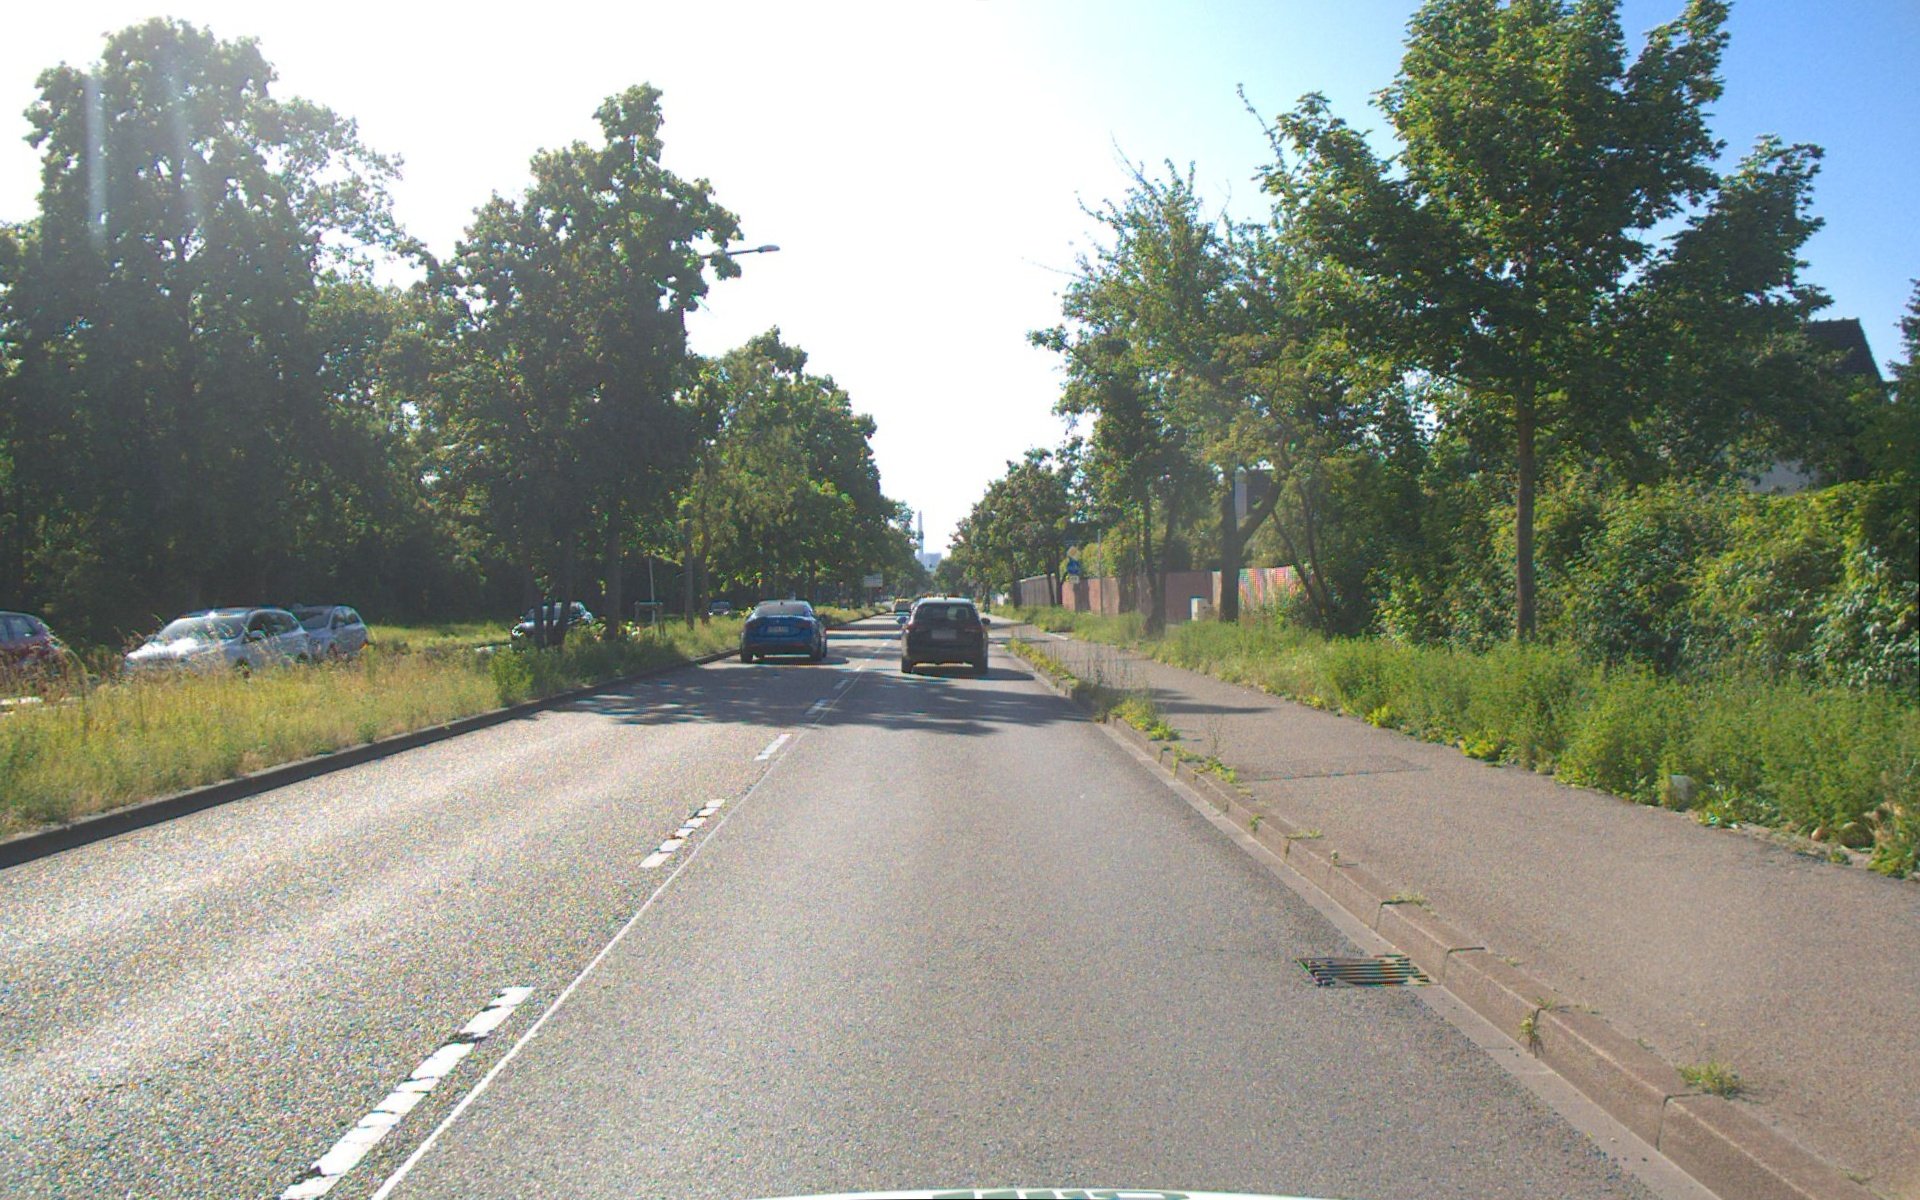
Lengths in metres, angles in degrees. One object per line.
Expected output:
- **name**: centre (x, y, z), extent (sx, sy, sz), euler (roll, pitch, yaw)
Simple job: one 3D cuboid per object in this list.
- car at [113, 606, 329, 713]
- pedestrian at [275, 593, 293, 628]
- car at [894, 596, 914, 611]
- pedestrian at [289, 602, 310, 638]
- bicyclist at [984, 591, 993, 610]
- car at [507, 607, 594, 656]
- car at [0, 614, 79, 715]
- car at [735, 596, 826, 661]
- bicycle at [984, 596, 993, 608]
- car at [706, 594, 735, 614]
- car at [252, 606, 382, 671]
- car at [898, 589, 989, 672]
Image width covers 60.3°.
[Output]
- **car**: centre (-12.443, 0.945, 28.180), extent (1.678, 1.630, 4.358), euler (-1, 0, 0)
- **pedestrian**: centre (-28.658, 0.446, 70.116), extent (0.533, 1.485, 0.596), euler (0, 0, -1)
- **car**: centre (-5.883, 0.383, 173.985), extent (1.939, 1.465, 3.997), euler (-1, 1, -5)
- **pedestrian**: centre (-27.941, 0.846, 69.986), extent (0.533, 1.485, 0.917), euler (-1, 0, -1)
- **bicyclist**: centre (2.209, 0.036, 126.898), extent (0.666, 1.443, 0.812), euler (-1, 0, -1)
- **car**: centre (-12.656, 0.940, 51.318), extent (1.667, 1.419, 4.250), euler (0, 0, -1)
- **car**: centre (-16.180, 1.053, 26.978), extent (1.572, 1.590, 3.998), euler (-1, 0, -2)
- **car**: centre (-4.248, 0.634, 39.708), extent (1.955, 1.429, 3.997), euler (-1, 0, -4)
- **bicycle**: centre (2.208, 0.137, 126.910), extent (0.642, 0.908, 1.874), euler (-1, 0, -1)
- **car**: centre (-17.950, 0.291, 123.991), extent (1.680, 1.531, 3.016), euler (-1, 0, 0)
- **car**: centre (-16.123, 0.933, 41.656), extent (1.677, 1.498, 4.063), euler (-1, 0, 0)
- **car**: centre (-0.309, 0.593, 33.873), extent (1.724, 1.586, 4.000), euler (1, 0, 0)
